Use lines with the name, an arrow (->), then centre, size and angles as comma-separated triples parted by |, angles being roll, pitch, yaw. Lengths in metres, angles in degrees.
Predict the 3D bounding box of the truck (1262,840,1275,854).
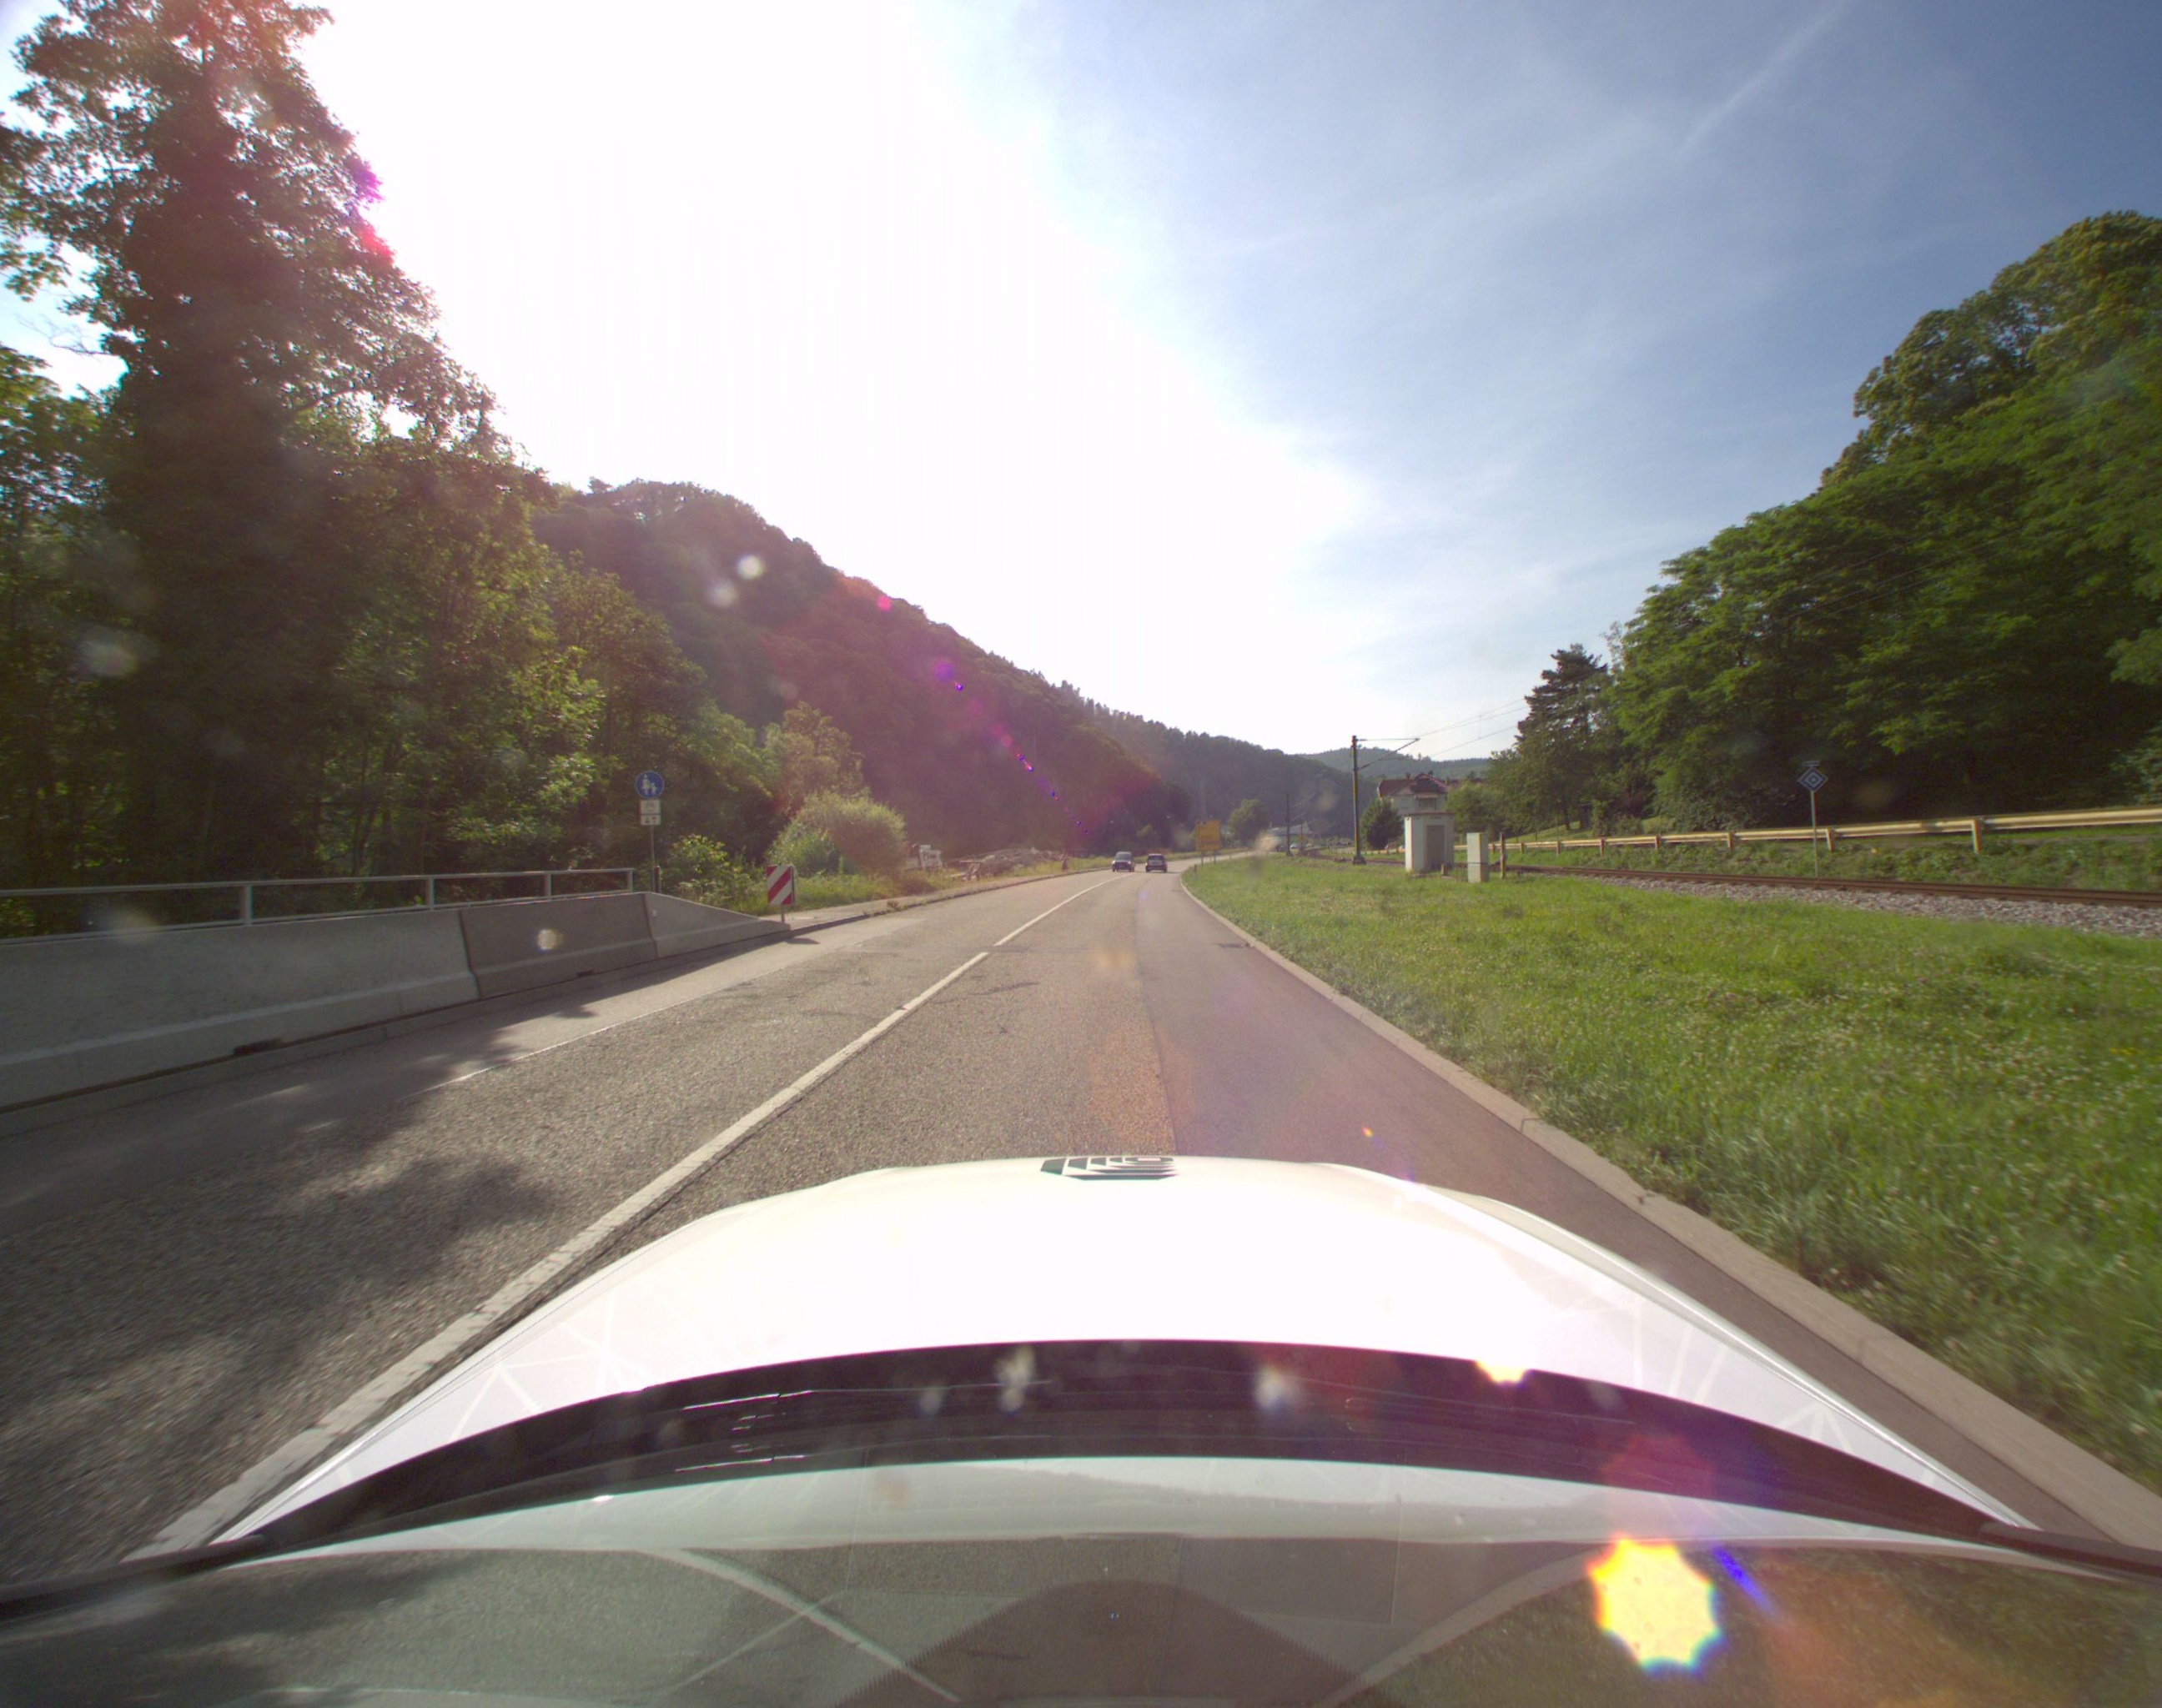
truck -> 53.354, -2.061, 231.412 | 2.727, 3.835, 8.239 | 0, 1, 20

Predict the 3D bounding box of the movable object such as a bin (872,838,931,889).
movable object such as a bin -> -14.999, 0.745, 68.634 | 2.709, 3.947, 7.238 | -3, -1, 4

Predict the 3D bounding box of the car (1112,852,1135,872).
car -> 3.957, 0.693, 75.149 | 1.841, 1.784, 4.692 | 0, 0, 6

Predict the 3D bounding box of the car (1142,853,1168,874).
car -> 6.692, 0.839, 73.172 | 1.982, 1.723, 3.999 | -3, 0, 8

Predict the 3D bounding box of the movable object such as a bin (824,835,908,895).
movable object such as a bin -> -15.612, 0.751, 60.029 | 2.687, 3.947, 10.000 | -3, -1, 4

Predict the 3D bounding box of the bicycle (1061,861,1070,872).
bicycle -> -1.269, 1.018, 66.928 | 0.536, 0.881, 2.256 | 1, 0, 5

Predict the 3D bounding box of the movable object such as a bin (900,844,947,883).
movable object such as a bin -> -16.796, 0.994, 87.436 | 2.885, 3.947, 7.818 | -3, -1, 4

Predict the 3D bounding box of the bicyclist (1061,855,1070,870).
bicyclist -> -1.251, 0.672, 66.912 | 0.680, 1.225, 0.859 | 0, 0, 5
